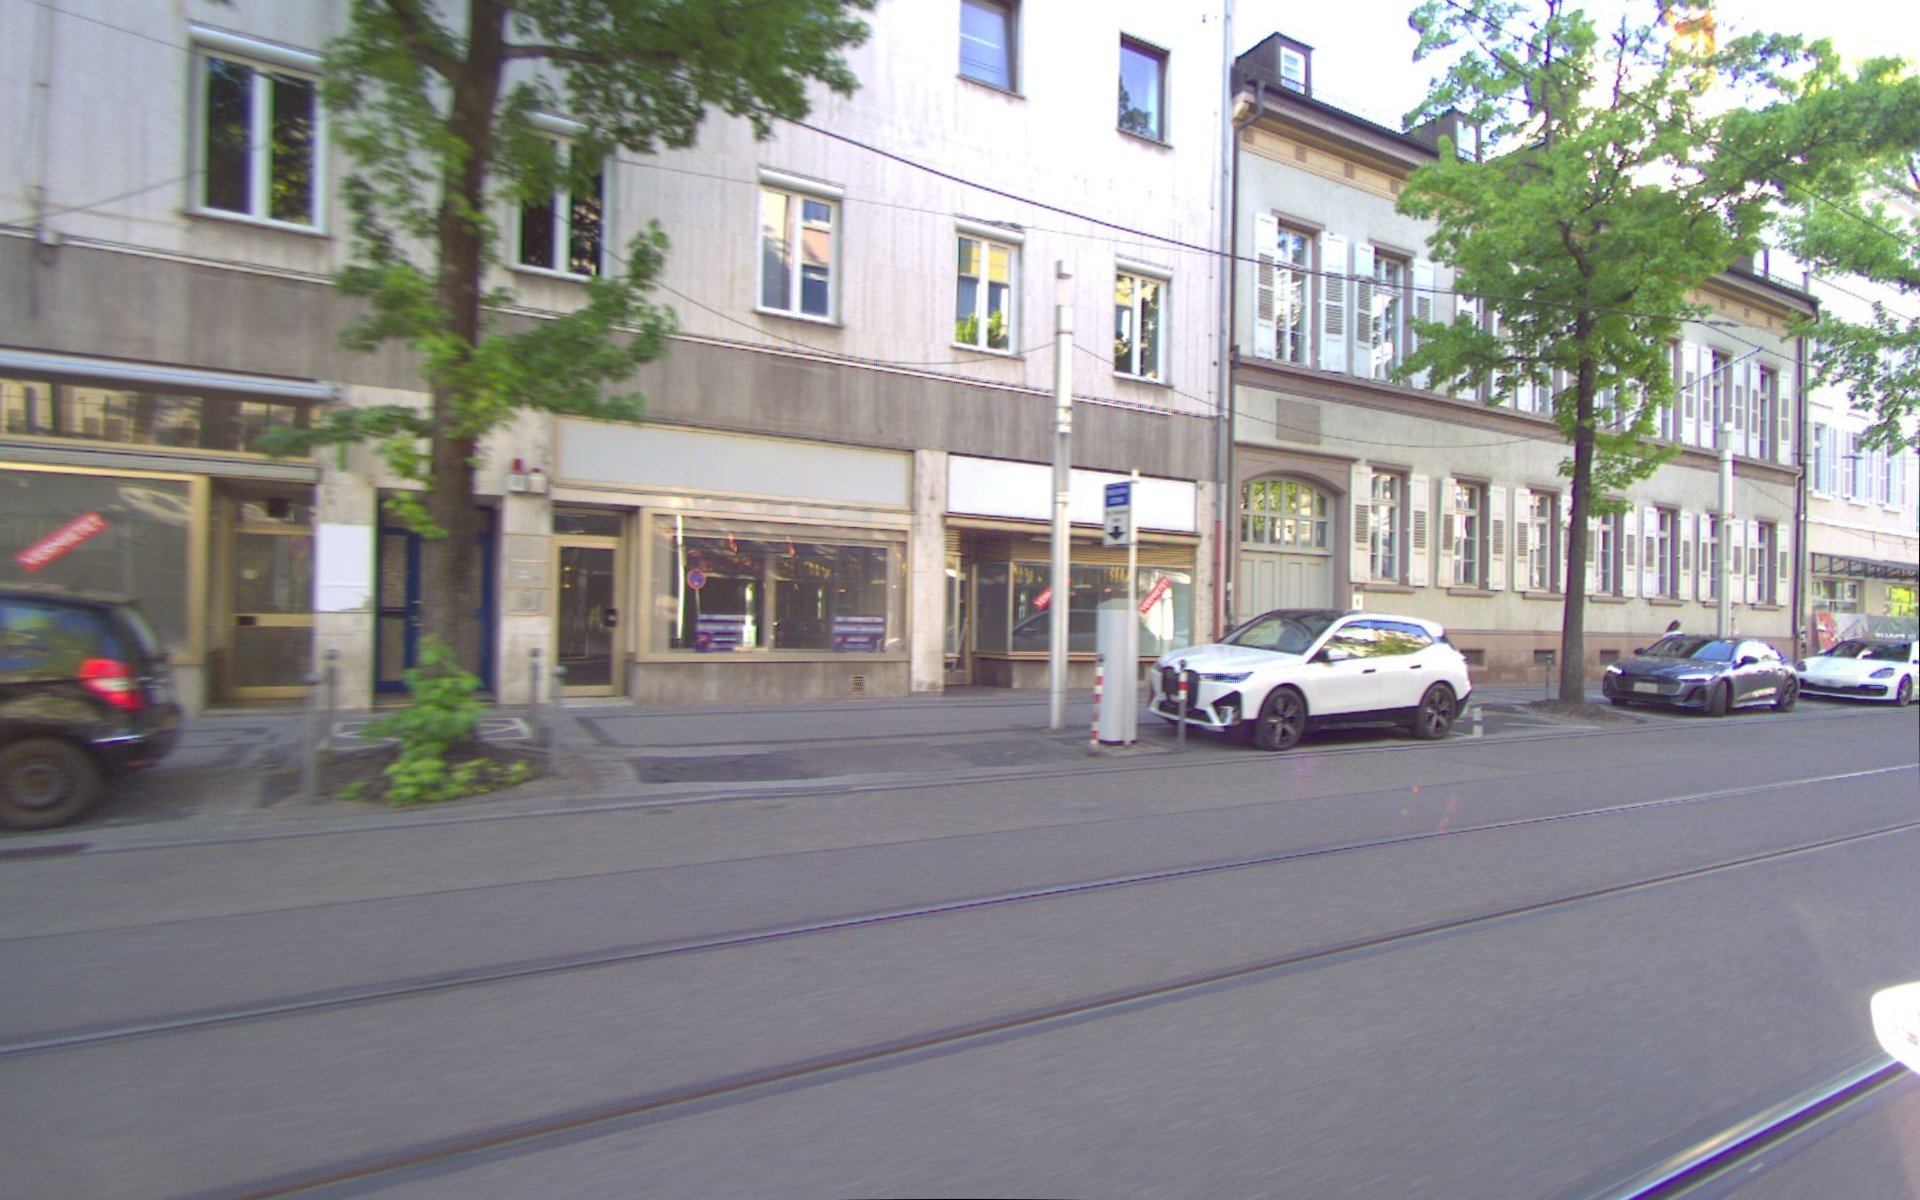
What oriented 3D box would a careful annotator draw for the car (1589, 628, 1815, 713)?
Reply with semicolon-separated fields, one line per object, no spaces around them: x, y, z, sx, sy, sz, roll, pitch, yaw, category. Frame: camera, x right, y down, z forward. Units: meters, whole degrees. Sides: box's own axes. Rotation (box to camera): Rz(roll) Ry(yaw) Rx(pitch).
14.410;1.308;19.442;4.794;1.431;1.951;2;-1;-33;car

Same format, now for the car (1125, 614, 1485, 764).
4.775;1.117;13.746;4.754;1.662;1.953;2;1;-29;car

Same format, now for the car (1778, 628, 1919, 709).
21.276;1.537;23.255;4.848;1.661;1.939;2;-1;-28;car

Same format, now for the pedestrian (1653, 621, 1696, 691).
17.807;1.384;25.052;0.640;1.702;0.671;1;-1;-30;pedestrian

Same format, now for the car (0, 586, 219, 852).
-7.651;0.735;6.800;3.951;1.662;1.953;2;1;-29;car

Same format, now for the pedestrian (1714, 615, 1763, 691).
18.262;1.223;23.570;0.648;1.743;0.683;1;0;-29;pedestrian
